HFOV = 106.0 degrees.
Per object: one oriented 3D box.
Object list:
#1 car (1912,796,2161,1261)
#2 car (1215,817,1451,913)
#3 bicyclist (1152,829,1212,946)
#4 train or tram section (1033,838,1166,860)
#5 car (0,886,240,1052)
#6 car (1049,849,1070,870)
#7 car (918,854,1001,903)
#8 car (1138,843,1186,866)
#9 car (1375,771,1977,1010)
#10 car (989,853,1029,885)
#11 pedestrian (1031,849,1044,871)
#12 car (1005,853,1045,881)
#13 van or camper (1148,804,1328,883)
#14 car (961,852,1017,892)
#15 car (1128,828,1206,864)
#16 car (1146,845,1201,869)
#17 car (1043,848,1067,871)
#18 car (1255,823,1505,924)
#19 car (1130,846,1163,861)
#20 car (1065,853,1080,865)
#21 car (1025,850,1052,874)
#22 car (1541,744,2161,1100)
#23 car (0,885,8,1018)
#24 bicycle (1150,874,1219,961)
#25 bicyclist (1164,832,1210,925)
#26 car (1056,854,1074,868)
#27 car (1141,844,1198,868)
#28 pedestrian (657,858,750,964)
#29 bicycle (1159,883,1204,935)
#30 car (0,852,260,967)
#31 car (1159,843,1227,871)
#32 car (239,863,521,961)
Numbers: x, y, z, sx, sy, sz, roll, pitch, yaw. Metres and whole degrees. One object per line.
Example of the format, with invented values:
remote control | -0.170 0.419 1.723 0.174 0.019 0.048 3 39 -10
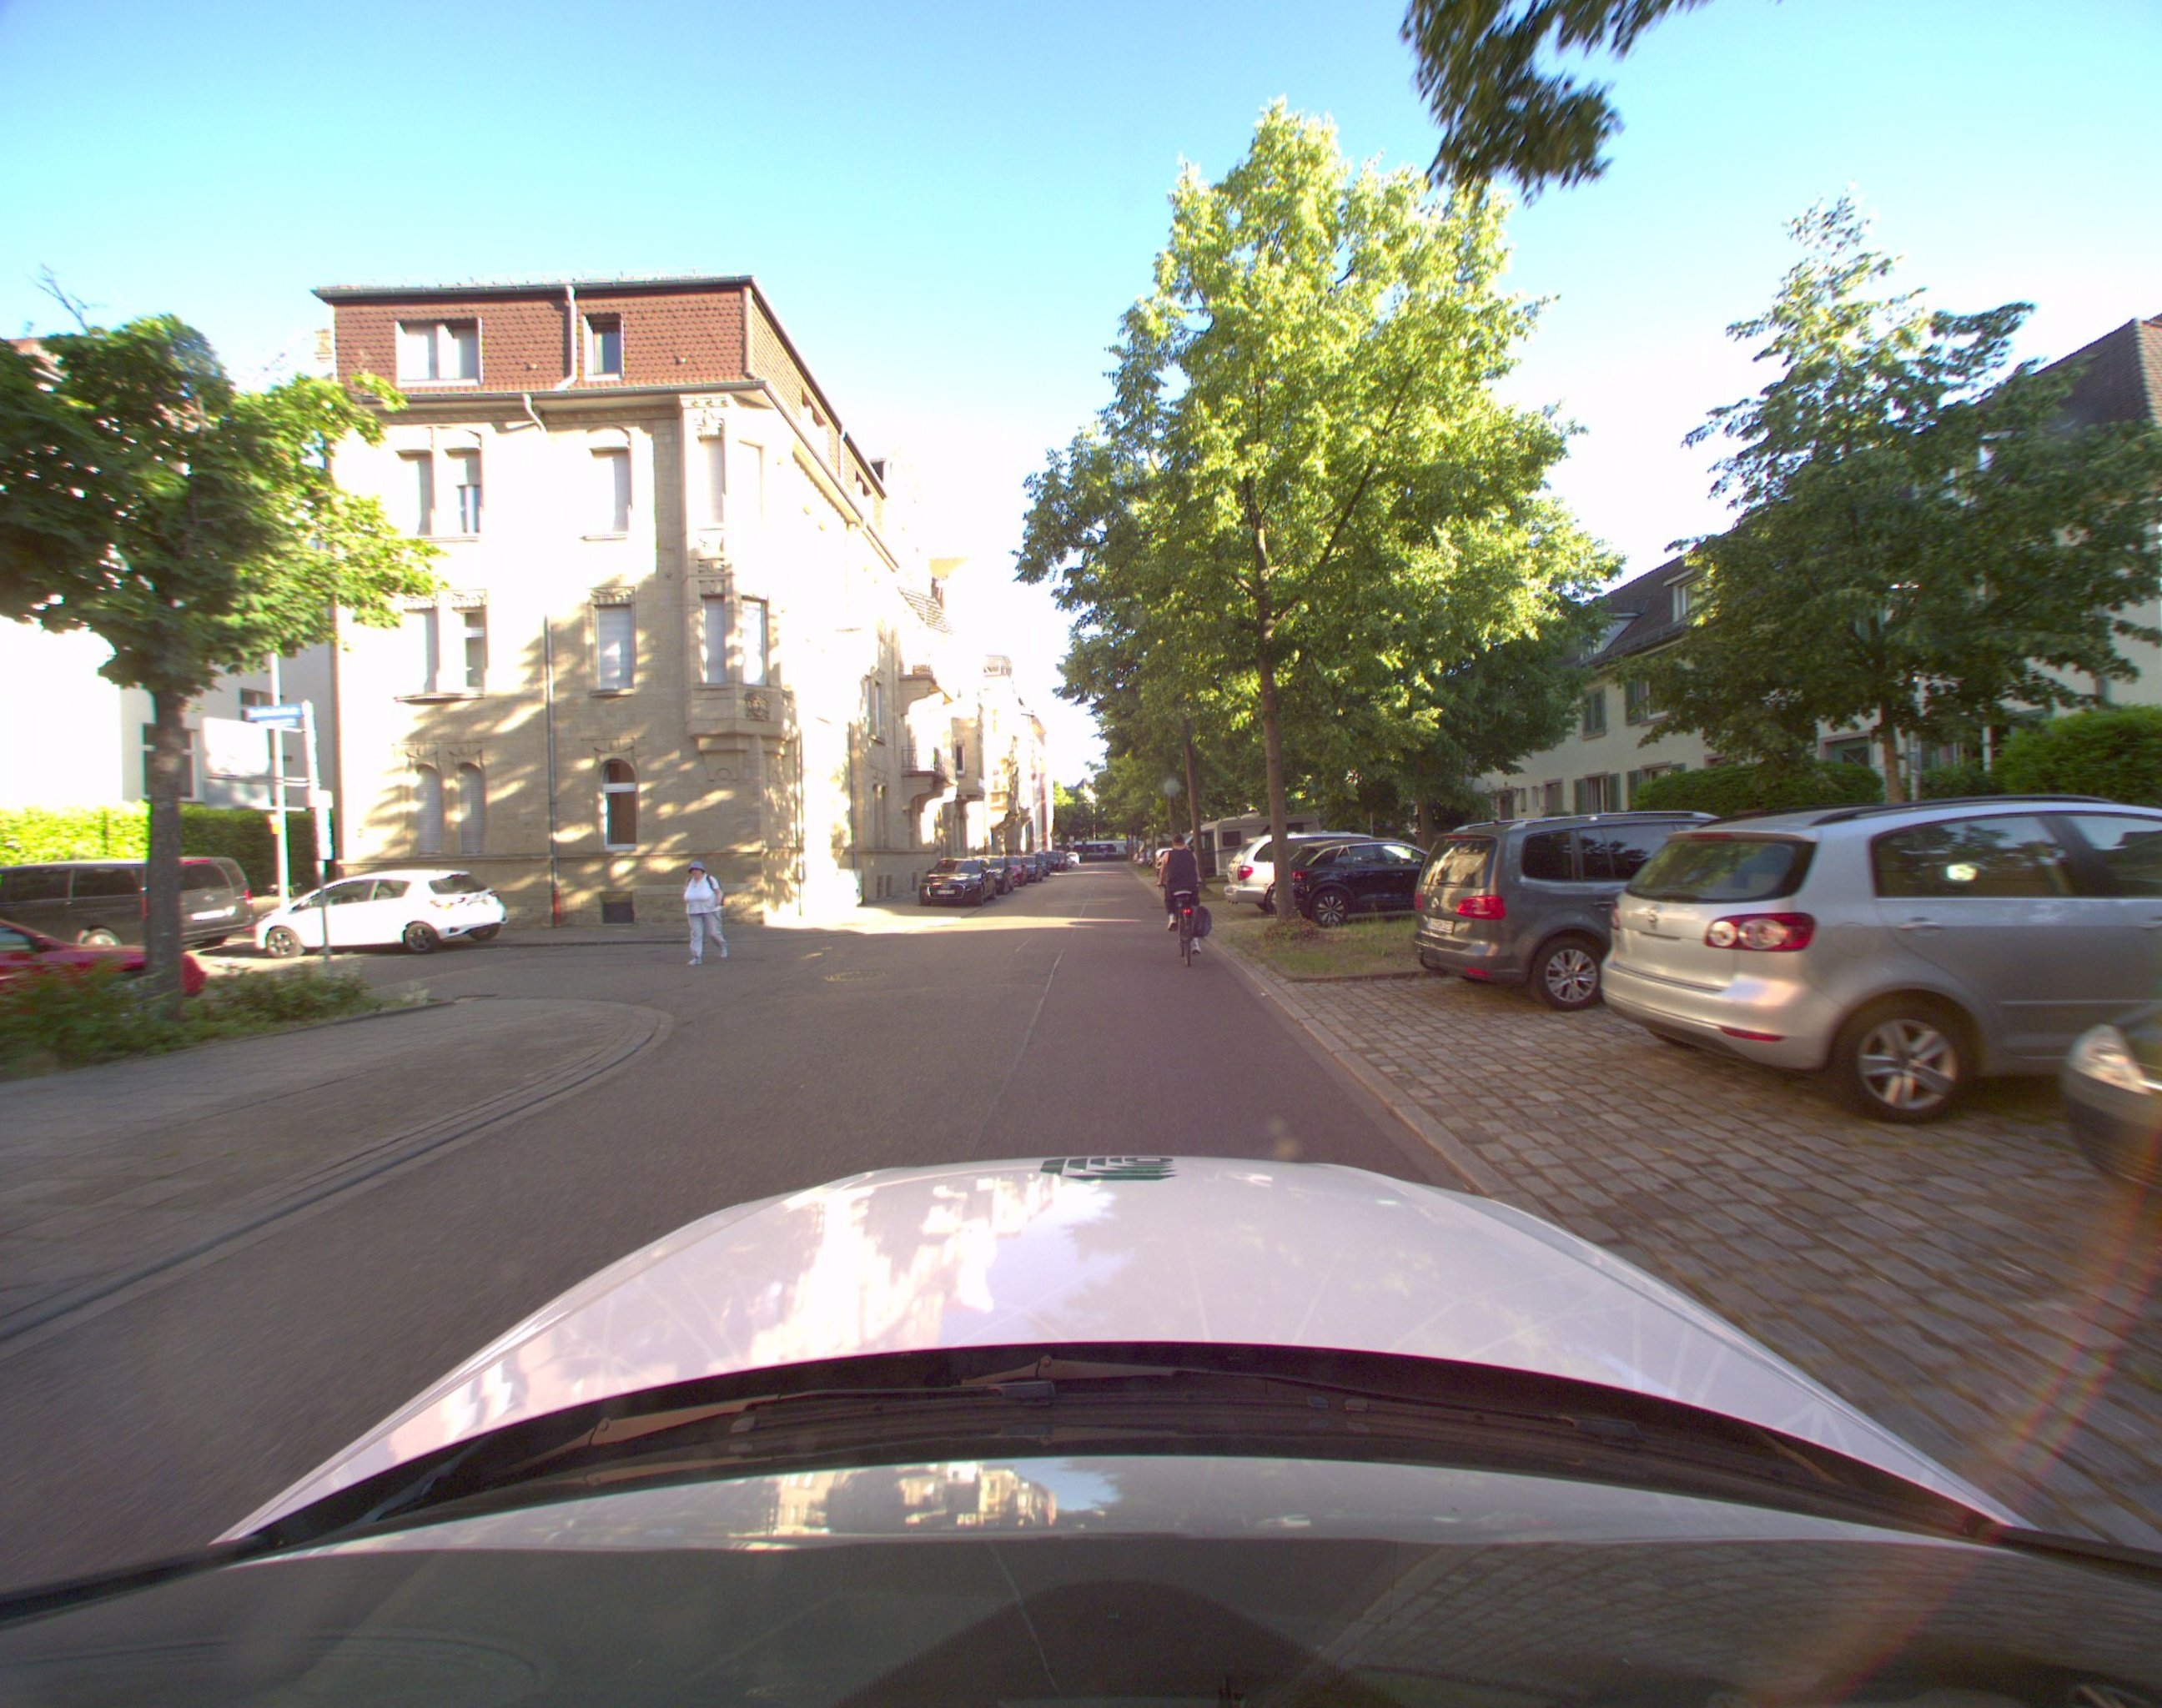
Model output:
car | 5.243 0.418 2.470 3.708 1.453 1.589 -5 0 1
car | 5.419 0.222 17.997 4.600 1.709 1.835 -4 0 3
bicyclist | 1.377 0.448 11.230 0.727 1.547 0.884 0 -1 1
train or tram section | 3.528 -0.918 145.559 23.889 3.708 4.256 0 -1 -21
car | -10.880 1.114 7.343 1.629 1.468 4.660 -1 0 2
car | -1.951 0.440 74.746 1.682 1.825 4.276 0 1 2
car | -3.794 0.726 26.345 1.804 1.427 4.900 1 0 2
car | 7.174 0.059 72.350 4.070 1.650 1.641 -5 0 0
car | 5.465 0.288 7.852 4.530 1.633 1.810 -5 0 -4
car | -3.459 0.683 39.591 1.624 1.453 3.837 -1 0 0
pedestrian | -3.416 0.455 63.380 0.934 1.742 0.735 0 -1 2
car | -3.066 0.669 45.432 1.669 1.430 4.553 0 1 3
van or camper | 6.559 -0.440 34.770 7.116 2.646 2.467 -5 0 3
car | -3.584 0.687 32.389 1.690 1.453 4.028 -2 -1 1
car | 8.346 -0.750 79.508 7.126 2.978 2.463 -4 0 -1
car | 6.616 0.227 58.502 3.757 1.600 1.692 -2 -2 3
car | -2.106 0.404 67.500 1.634 1.783 4.357 0 1 3
car | 5.540 0.343 15.465 4.051 1.476 1.695 -5 1 2
car | 8.189 -0.057 101.905 3.975 1.803 1.833 0 -1 -1
car | -1.038 0.596 103.101 1.577 1.375 4.134 0 1 3
car | -2.820 0.493 54.692 1.590 1.489 2.737 2 1 0
car | 5.440 0.267 4.904 4.252 1.633 1.693 -5 0 5
car | -13.570 1.182 7.485 1.706 1.550 4.214 -2 0 2
bicycle | 1.376 0.822 11.168 0.735 1.054 1.956 0 -1 1
bicyclist | 1.907 0.424 14.769 0.687 1.626 0.998 0 0 -1
car | -1.659 0.686 85.742 1.577 1.343 4.134 0 1 3
car | 6.594 0.154 61.025 4.121 1.600 1.704 -2 -2 3
pedestrian | -6.046 0.880 13.116 0.884 1.577 1.054 -3 1 2
bicycle | 1.829 0.988 14.975 0.631 0.799 1.833 -2 0 2
car | -19.054 1.031 15.529 4.698 1.866 1.867 -2 3 -1
car | 7.145 0.227 52.296 4.205 1.600 1.692 -2 -2 3
car | -13.334 1.064 15.682 3.784 1.550 1.719 -2 3 -1
